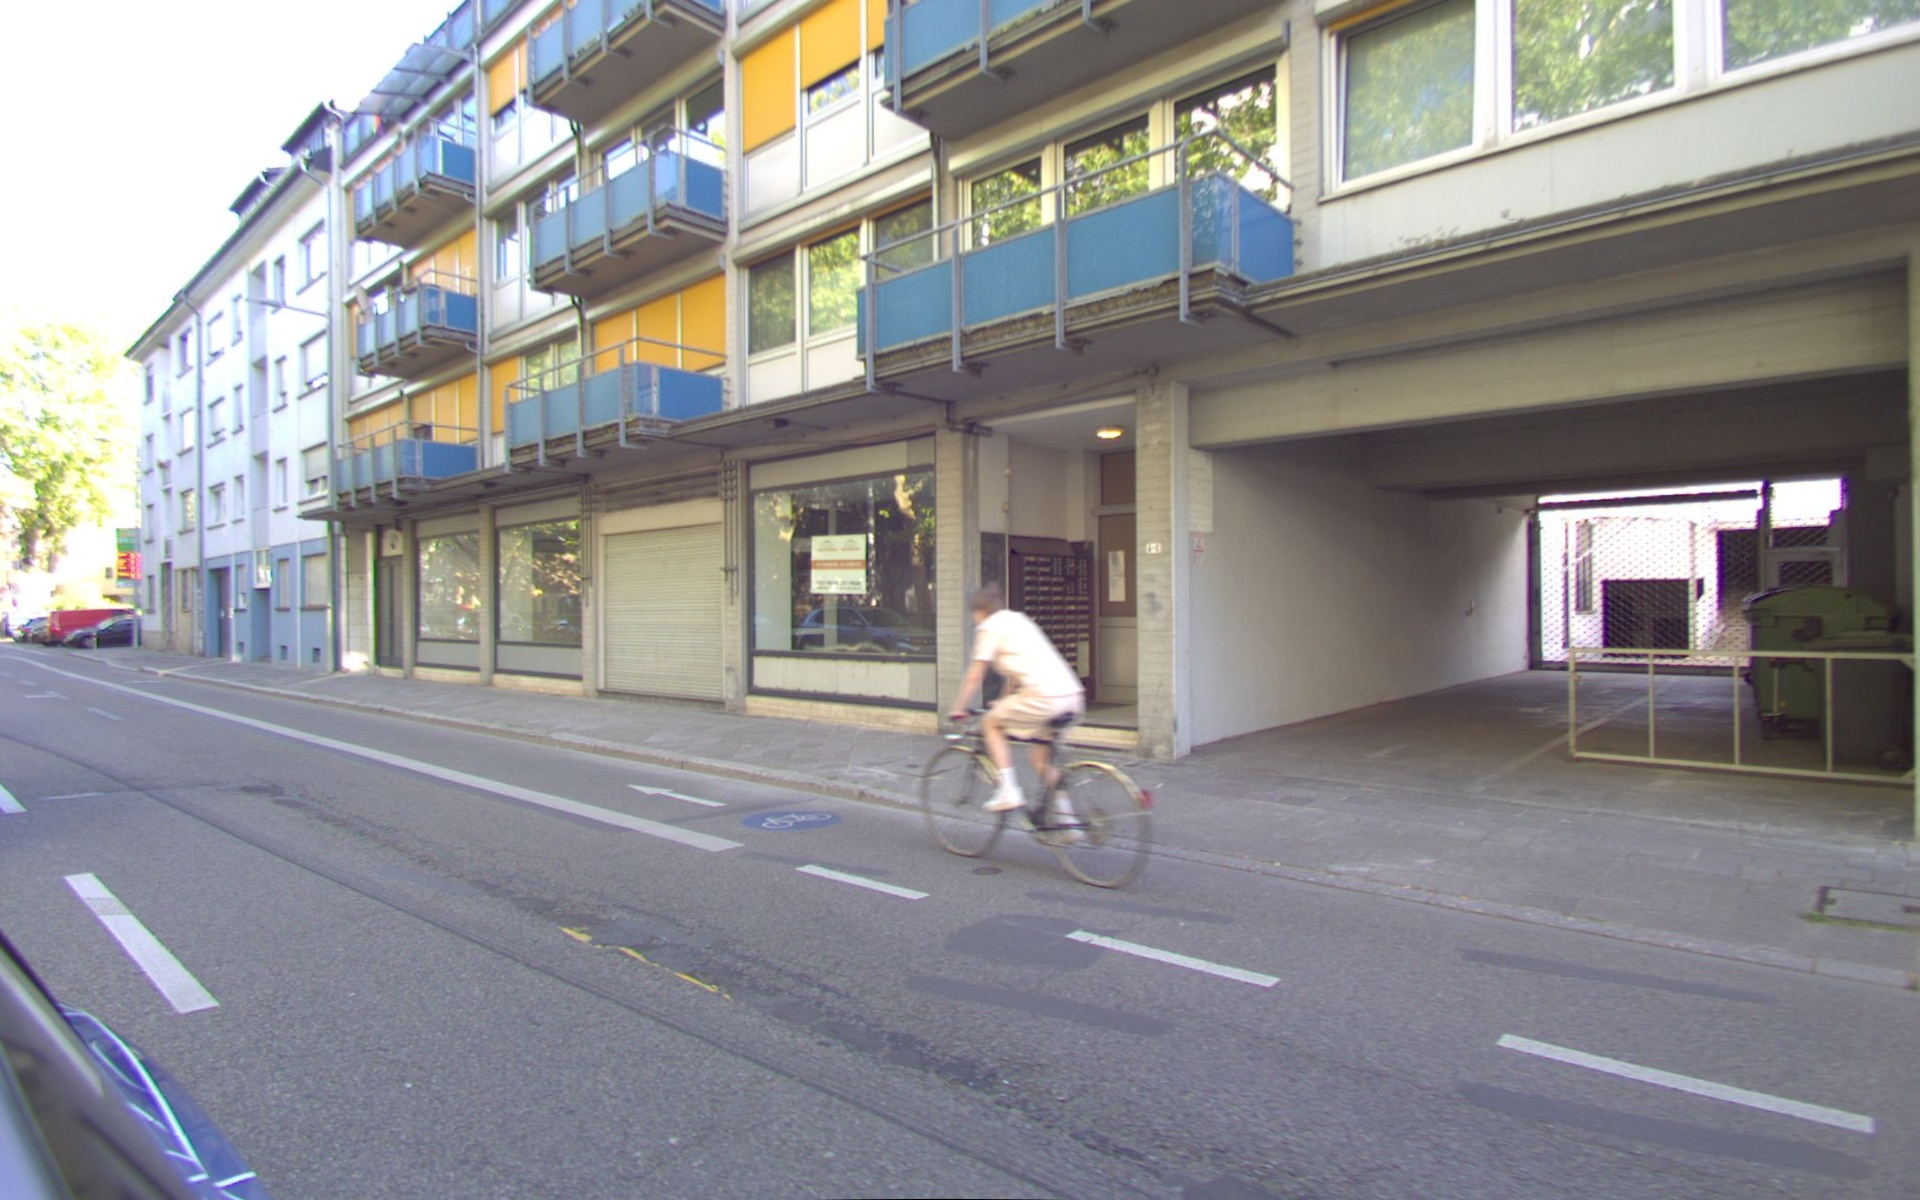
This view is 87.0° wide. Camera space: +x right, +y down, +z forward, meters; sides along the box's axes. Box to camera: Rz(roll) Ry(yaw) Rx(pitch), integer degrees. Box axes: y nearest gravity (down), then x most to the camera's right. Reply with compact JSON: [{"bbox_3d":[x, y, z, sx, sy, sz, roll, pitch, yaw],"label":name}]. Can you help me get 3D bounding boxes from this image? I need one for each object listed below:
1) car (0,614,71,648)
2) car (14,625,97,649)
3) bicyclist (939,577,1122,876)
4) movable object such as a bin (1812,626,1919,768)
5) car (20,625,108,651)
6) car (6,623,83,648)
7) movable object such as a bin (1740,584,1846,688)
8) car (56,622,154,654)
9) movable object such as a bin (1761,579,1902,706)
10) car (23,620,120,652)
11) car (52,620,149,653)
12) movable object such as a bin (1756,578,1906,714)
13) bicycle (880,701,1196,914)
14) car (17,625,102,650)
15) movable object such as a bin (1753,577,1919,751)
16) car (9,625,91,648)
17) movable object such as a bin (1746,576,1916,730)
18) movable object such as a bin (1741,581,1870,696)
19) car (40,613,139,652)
[{"bbox_3d":[-64.902,2.148,70.848,1.725,2.193,3.853,-1,0,43],"label":"car"},{"bbox_3d":[-57.682,2.341,64.559,1.526,1.343,3.853,-1,0,43],"label":"car"},{"bbox_3d":[0.402,0.666,5.828,0.806,1.570,0.641,-1,0,42],"label":"bicyclist"},{"bbox_3d":[7.259,0.742,8.037,0.703,1.055,0.563,-1,0,44],"label":"movable object such as a bin"},{"bbox_3d":[-54.213,2.253,61.273,1.595,1.385,3.853,-1,0,43],"label":"car"},{"bbox_3d":[-61.456,2.361,67.951,1.539,1.451,3.732,-1,0,43],"label":"car"},{"bbox_3d":[12.630,0.517,15.341,1.143,1.476,1.121,-1,0,44],"label":"movable object such as a bin"},{"bbox_3d":[-42.365,1.877,50.173,1.534,1.420,3.550,-2,-1,43],"label":"car"},{"bbox_3d":[11.137,0.504,12.934,1.281,1.506,1.146,-1,0,44],"label":"movable object such as a bin"},{"bbox_3d":[-48.528,1.926,55.345,1.604,1.598,3.853,-1,0,43],"label":"car"},{"bbox_3d":[-44.051,1.834,51.902,1.602,1.521,3.619,-1,0,43],"label":"car"},{"bbox_3d":[10.347,0.506,12.027,1.281,1.497,1.146,-1,0,44],"label":"movable object such as a bin"},{"bbox_3d":[0.383,1.103,5.819,1.867,0.898,0.542,-1,0,42],"label":"bicycle"},{"bbox_3d":[-55.702,2.276,62.642,1.595,1.385,3.853,-1,0,43],"label":"car"},{"bbox_3d":[8.203,0.541,9.429,1.143,1.476,1.246,-1,0,44],"label":"movable object such as a bin"},{"bbox_3d":[-59.459,2.368,66.155,1.526,1.343,3.853,-1,0,43],"label":"car"},{"bbox_3d":[9.194,0.519,10.685,1.281,1.484,1.256,-1,-1,44],"label":"movable object such as a bin"},{"bbox_3d":[11.746,0.504,14.064,1.281,1.497,1.146,-1,0,44],"label":"movable object such as a bin"},{"bbox_3d":[-46.211,1.704,53.761,1.749,1.921,3.853,-2,-1,43],"label":"car"}]
